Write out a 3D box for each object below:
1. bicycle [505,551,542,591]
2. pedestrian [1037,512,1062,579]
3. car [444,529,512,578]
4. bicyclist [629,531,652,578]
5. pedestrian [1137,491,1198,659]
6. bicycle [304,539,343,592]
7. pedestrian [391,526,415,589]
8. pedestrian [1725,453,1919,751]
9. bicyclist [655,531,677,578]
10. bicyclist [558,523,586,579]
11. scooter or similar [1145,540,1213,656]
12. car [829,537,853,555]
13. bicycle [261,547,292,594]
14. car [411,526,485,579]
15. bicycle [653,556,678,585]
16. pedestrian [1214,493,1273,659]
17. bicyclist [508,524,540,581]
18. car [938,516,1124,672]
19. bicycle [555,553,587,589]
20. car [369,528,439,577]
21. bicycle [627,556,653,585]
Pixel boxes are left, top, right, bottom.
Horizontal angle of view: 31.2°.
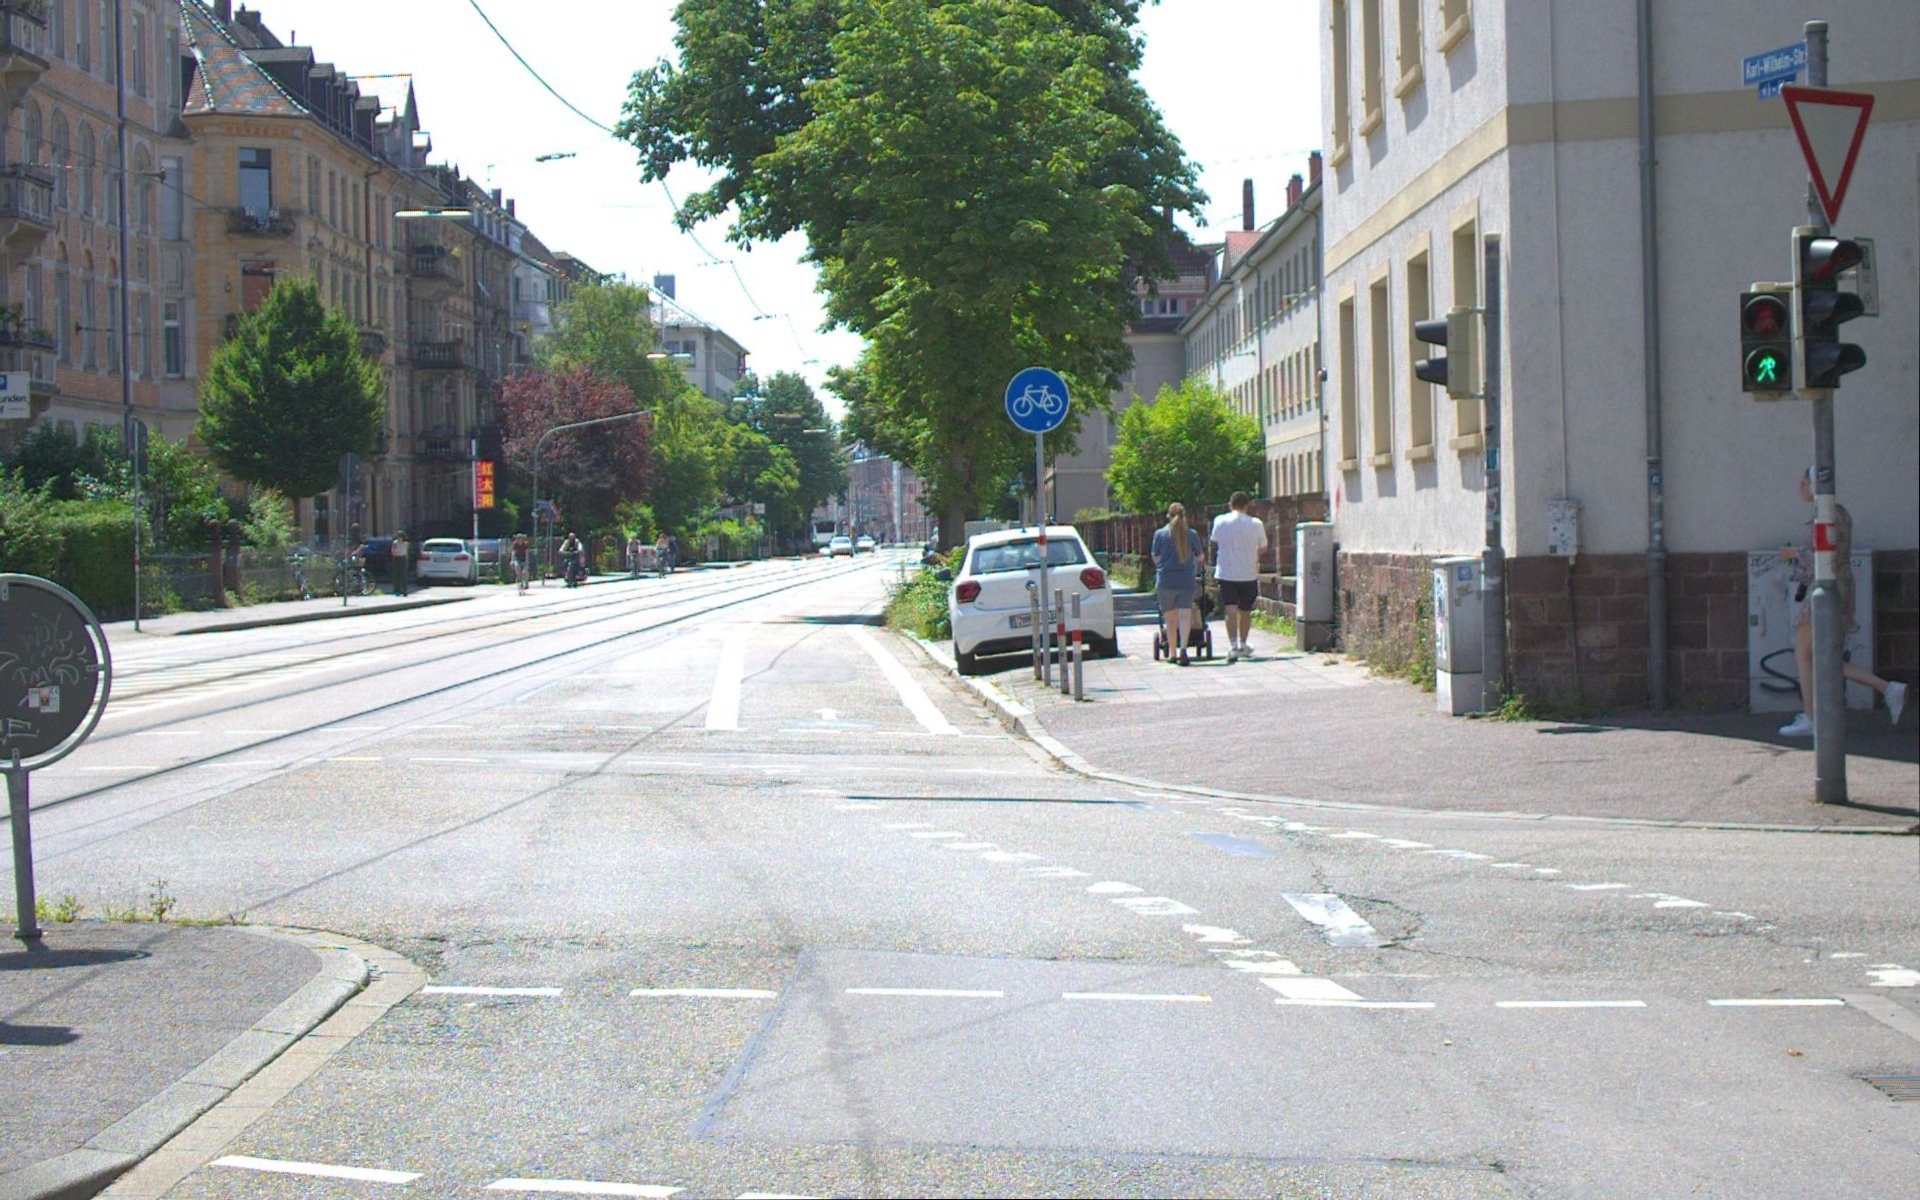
[{"bbox_3d":[-12.382,-0.822,97.659,0.727,1.119,2.085,1,1,1],"label":"bicycle"},{"bbox_3d":[2.098,-1.287,80.604,0.521,1.557,0.573,-1,1,-1],"label":"pedestrian"},{"bbox_3d":[-17.339,-1.666,123.835,1.919,1.709,4.000,1,1,-1],"label":"car"},{"bbox_3d":[-12.350,-1.757,132.897,0.727,1.812,1.079,1,0,1],"label":"bicyclist"},{"bbox_3d":[2.055,-0.247,33.996,0.557,1.640,0.677,1,0,5],"label":"pedestrian"},{"bbox_3d":[-15.666,-0.853,84.674,0.677,1.274,1.919,-1,1,-3],"label":"bicycle"},{"bbox_3d":[-14.619,-1.117,90.216,0.521,1.653,0.529,-1,1,-1],"label":"pedestrian"},{"bbox_3d":[5.322,0.008,21.029,1.055,1.684,0.653,-5,4,18],"label":"pedestrian"},{"bbox_3d":[-11.374,-1.766,133.035,0.727,1.812,1.079,1,0,1],"label":"bicyclist"},{"bbox_3d":[-12.419,-1.555,109.983,0.727,1.762,1.079,1,0,1],"label":"bicyclist"},{"bbox_3d":[2.231,-0.028,34.953,0.557,1.151,1.205,1,0,9],"label":"scooter or similar"},{"bbox_3d":[-8.703,-3.959,251.592,1.706,1.273,4.000,1,1,-1],"label":"car"},{"bbox_3d":[-15.909,-0.703,80.032,0.677,1.061,1.919,-1,1,-11],"label":"bicycle"},{"bbox_3d":[-17.195,-1.581,115.571,1.919,1.709,4.000,1,1,-1],"label":"car"},{"bbox_3d":[-11.381,-1.154,133.099,0.727,1.119,2.085,1,1,1],"label":"bicycle"},{"bbox_3d":[2.836,-0.239,34.312,0.557,1.640,0.677,1,0,5],"label":"pedestrian"},{"bbox_3d":[-12.374,-1.346,97.659,0.727,1.623,1.079,1,0,1],"label":"bicyclist"},{"bbox_3d":[0.718,-0.085,37.317,1.815,1.511,4.000,-3,1,-1],"label":"car"},{"bbox_3d":[-12.440,-0.933,109.892,0.727,1.119,2.085,1,1,1],"label":"bicycle"},{"bbox_3d":[-20.025,-1.704,123.908,1.919,1.709,4.000,1,1,-1],"label":"car"},{"bbox_3d":[-12.366,-1.137,132.851,0.727,1.119,2.085,1,1,1],"label":"bicycle"}]
